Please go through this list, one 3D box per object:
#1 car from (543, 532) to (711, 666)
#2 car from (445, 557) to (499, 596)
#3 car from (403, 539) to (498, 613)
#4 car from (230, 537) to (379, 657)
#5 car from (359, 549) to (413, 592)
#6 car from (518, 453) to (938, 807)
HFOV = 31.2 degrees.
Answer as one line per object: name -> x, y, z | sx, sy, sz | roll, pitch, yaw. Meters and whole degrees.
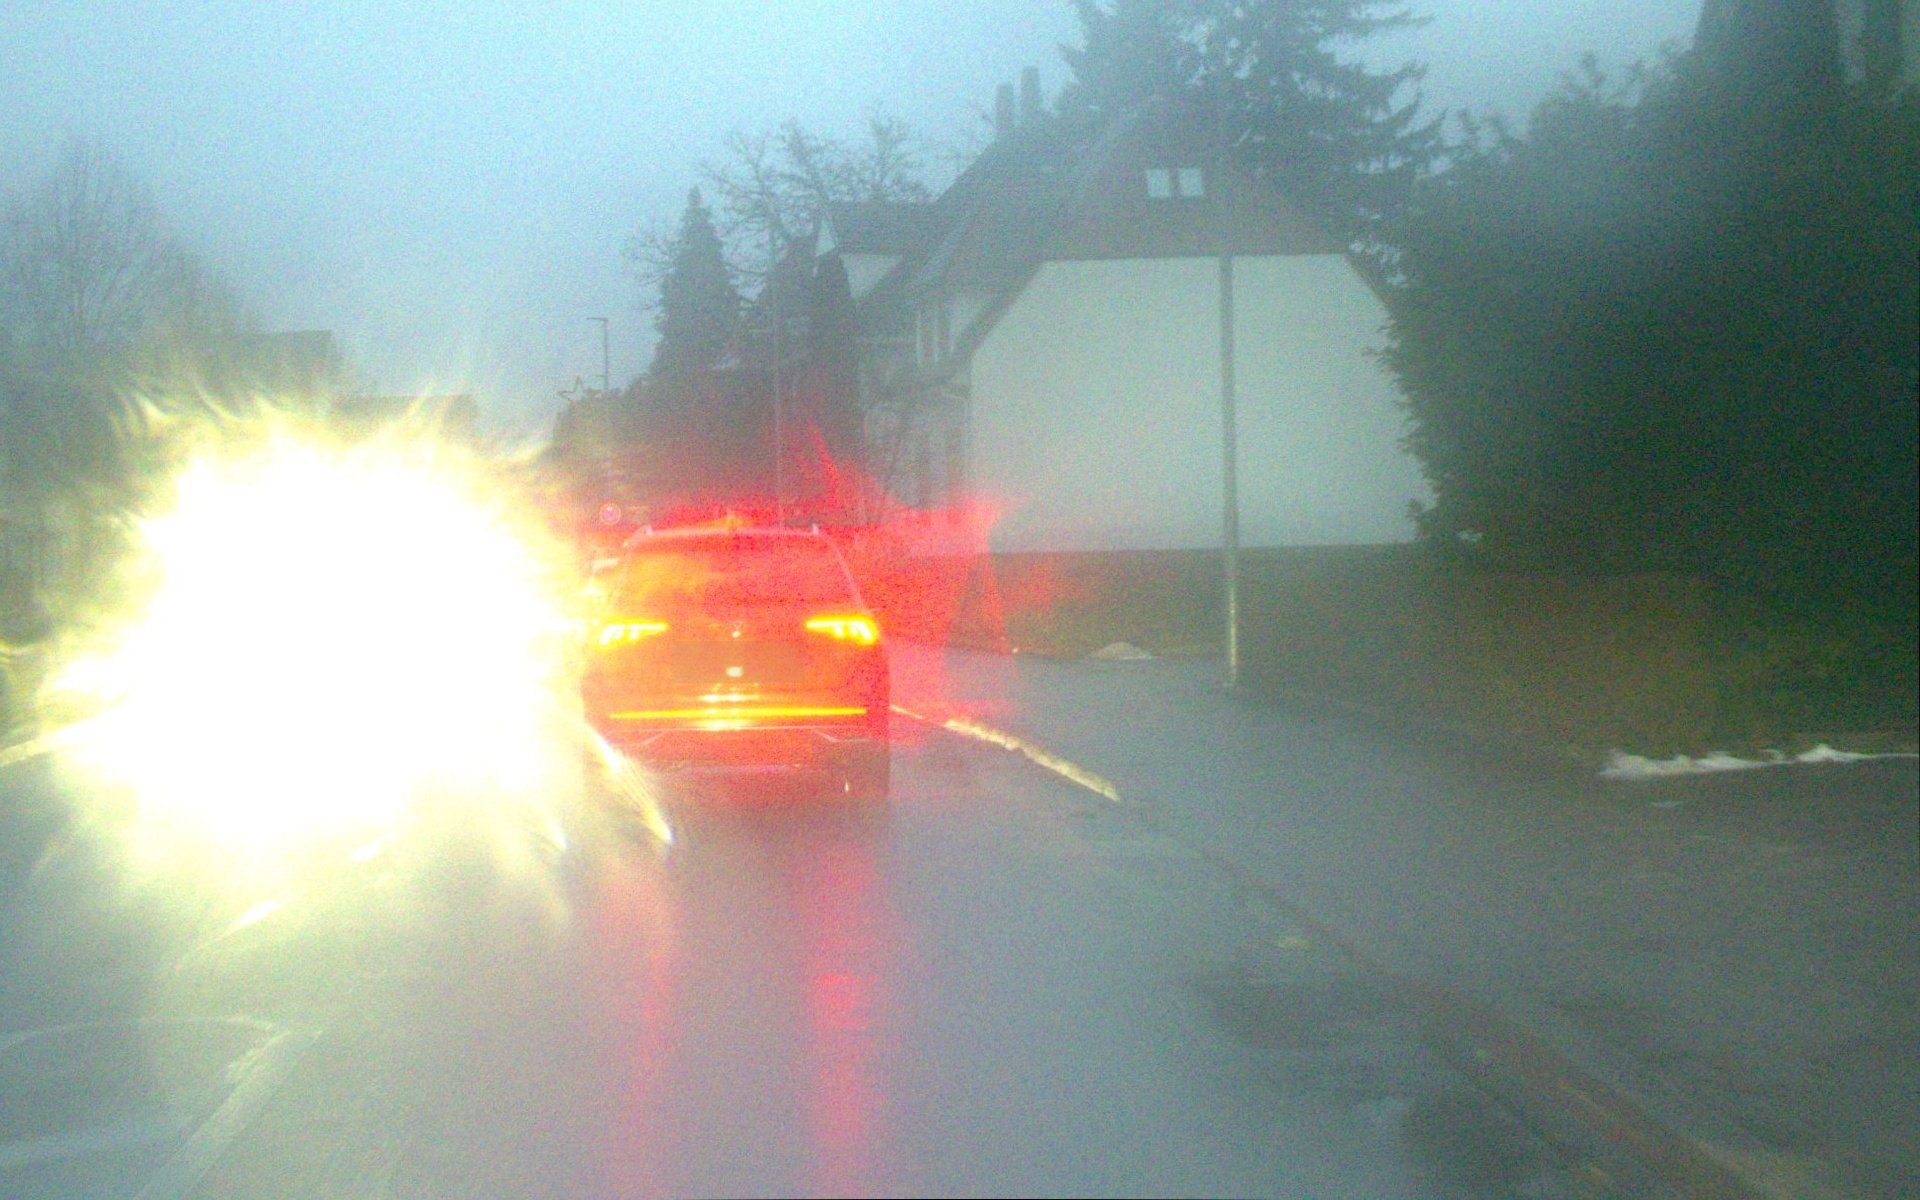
car -> -4.391, -0.052, 44.854 | 1.857, 1.641, 4.001 | 0, 1, -10
car -> -17.841, -0.866, 125.557 | 1.842, 1.327, 3.939 | -2, 1, -9
car -> -14.121, -0.662, 95.060 | 2.309, 1.932, 5.019 | -1, 0, -11
car -> -9.292, -0.068, 48.967 | 1.823, 1.548, 4.001 | -3, 1, -8
car -> -22.510, -1.177, 134.984 | 1.912, 1.517, 4.001 | -1, 2, -7
car -> -1.536, 0.151, 21.799 | 2.309, 1.932, 5.019 | -1, 0, -5
